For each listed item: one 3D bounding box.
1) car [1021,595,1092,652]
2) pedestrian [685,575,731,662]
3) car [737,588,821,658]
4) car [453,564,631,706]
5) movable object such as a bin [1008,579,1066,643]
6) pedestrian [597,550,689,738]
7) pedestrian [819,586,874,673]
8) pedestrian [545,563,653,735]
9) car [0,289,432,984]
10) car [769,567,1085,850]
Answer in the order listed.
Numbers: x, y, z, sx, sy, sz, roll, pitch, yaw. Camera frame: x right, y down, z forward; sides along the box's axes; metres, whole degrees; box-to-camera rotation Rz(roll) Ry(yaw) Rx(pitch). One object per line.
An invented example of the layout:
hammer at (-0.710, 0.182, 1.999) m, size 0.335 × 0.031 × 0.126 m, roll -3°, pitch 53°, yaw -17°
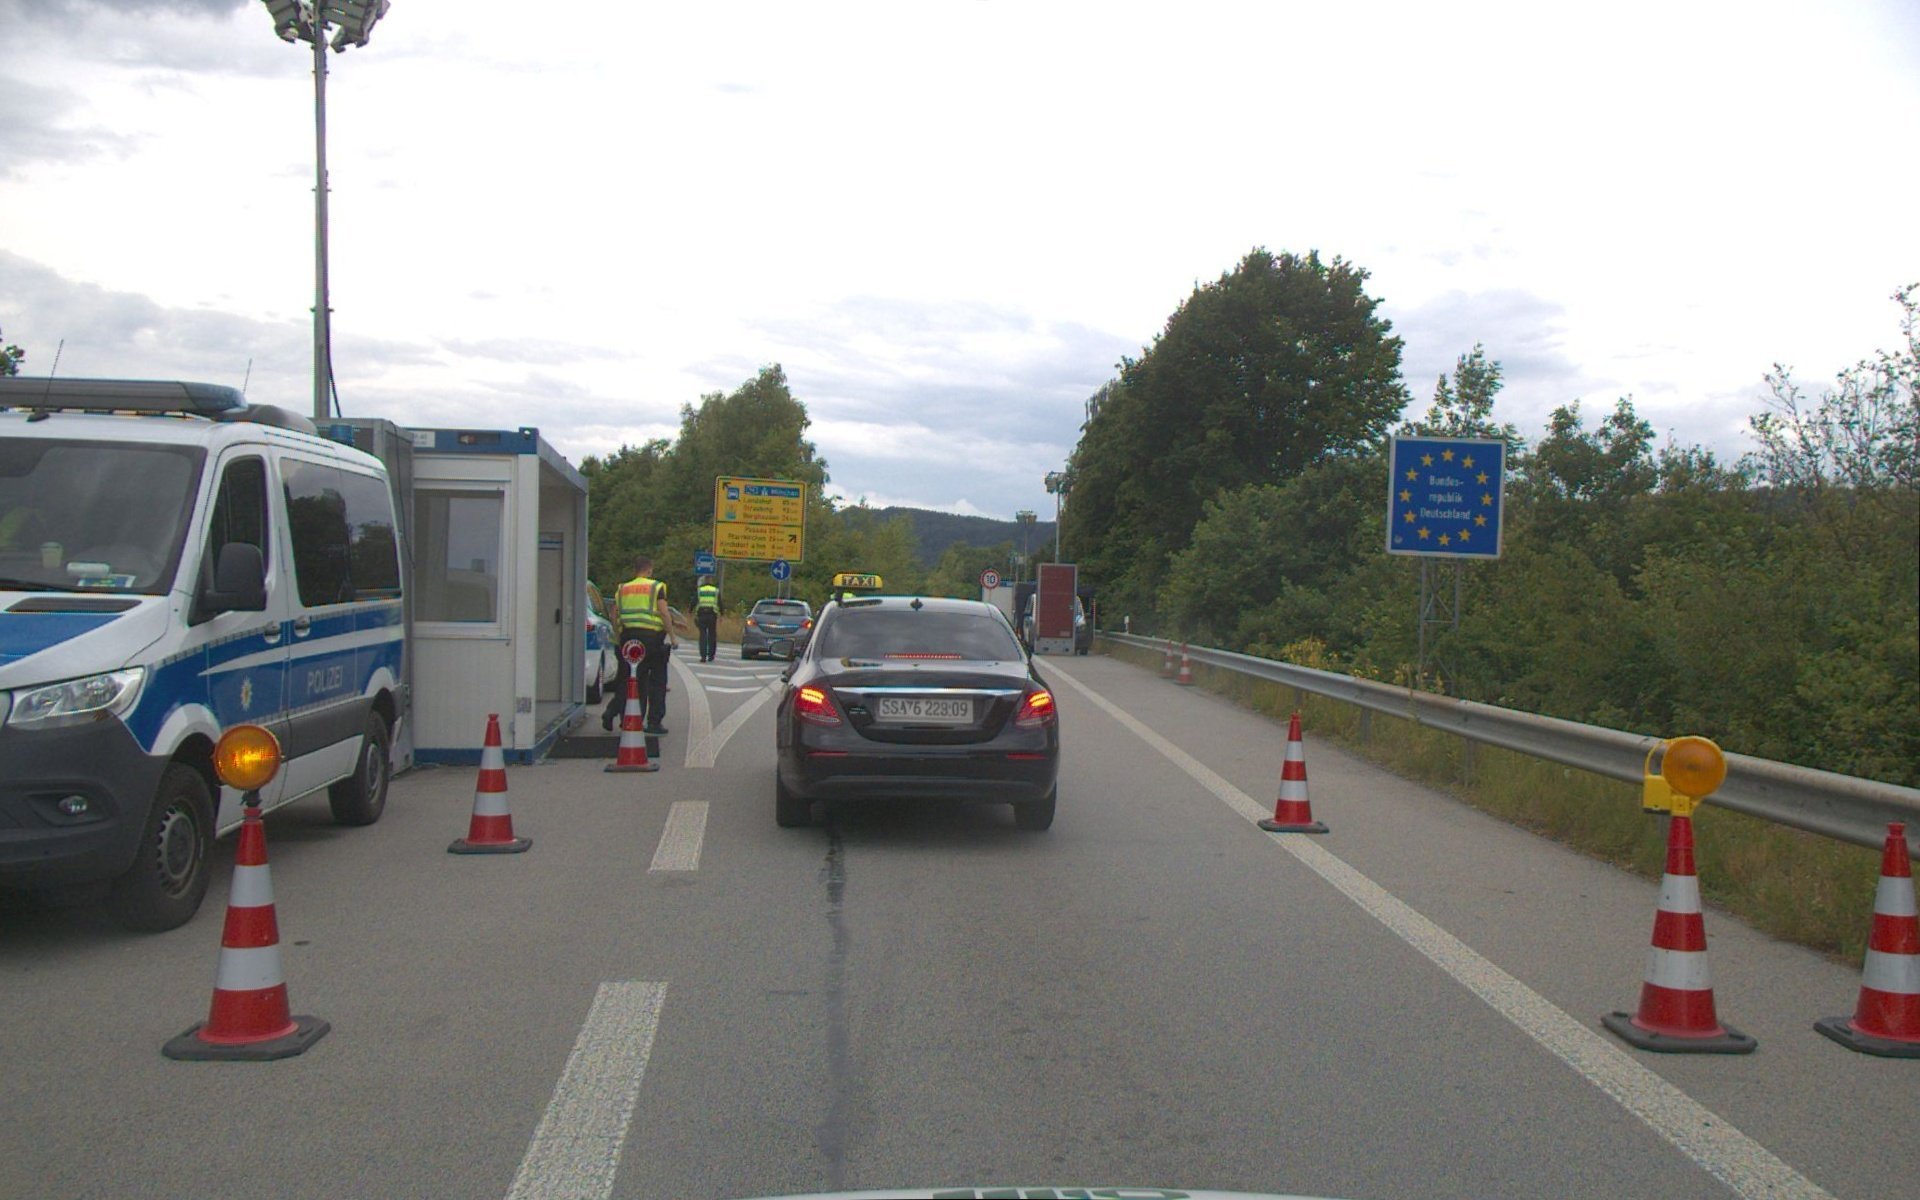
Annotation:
car at (3.106, 0.726, 54.080) m, size 1.877 × 1.707 × 5.082 m, roll 3°, pitch 0°, yaw -1°
pedestrian at (-5.334, 0.392, 34.997) m, size 0.893 × 1.800 × 0.911 m, roll 1°, pitch 0°, yaw -12°
car at (-4.189, 0.503, 38.734) m, size 1.819 × 1.524 × 4.252 m, roll 1°, pitch 0°, yaw -5°
car at (-5.703, 0.439, 23.033) m, size 1.833 × 1.774 × 4.003 m, roll 1°, pitch 0°, yaw -6°
movable object such as a bin at (2.890, 0.402, 62.919) m, size 1.953 × 2.320 × 4.167 m, roll 1°, pitch 0°, yaw 0°
pedestrian at (-3.213, 0.435, 16.834) m, size 0.796 × 1.862 × 0.809 m, roll 1°, pitch 0°, yaw -3°
pedestrian at (-2.299, 0.595, 33.506) m, size 0.895 × 1.727 × 0.909 m, roll 1°, pitch 0°, yaw -19°
pedestrian at (-3.789, 0.495, 17.386) m, size 0.745 × 1.748 × 0.817 m, roll 0°, pitch 0°, yaw 27°
car at (-4.341, 0.109, 8.517) m, size 1.990 × 2.506 × 5.273 m, roll 1°, pitch 0°, yaw -6°
car at (-0.349, 0.629, 11.810) m, size 1.819 × 1.623 × 4.371 m, roll 1°, pitch 0°, yaw -4°
